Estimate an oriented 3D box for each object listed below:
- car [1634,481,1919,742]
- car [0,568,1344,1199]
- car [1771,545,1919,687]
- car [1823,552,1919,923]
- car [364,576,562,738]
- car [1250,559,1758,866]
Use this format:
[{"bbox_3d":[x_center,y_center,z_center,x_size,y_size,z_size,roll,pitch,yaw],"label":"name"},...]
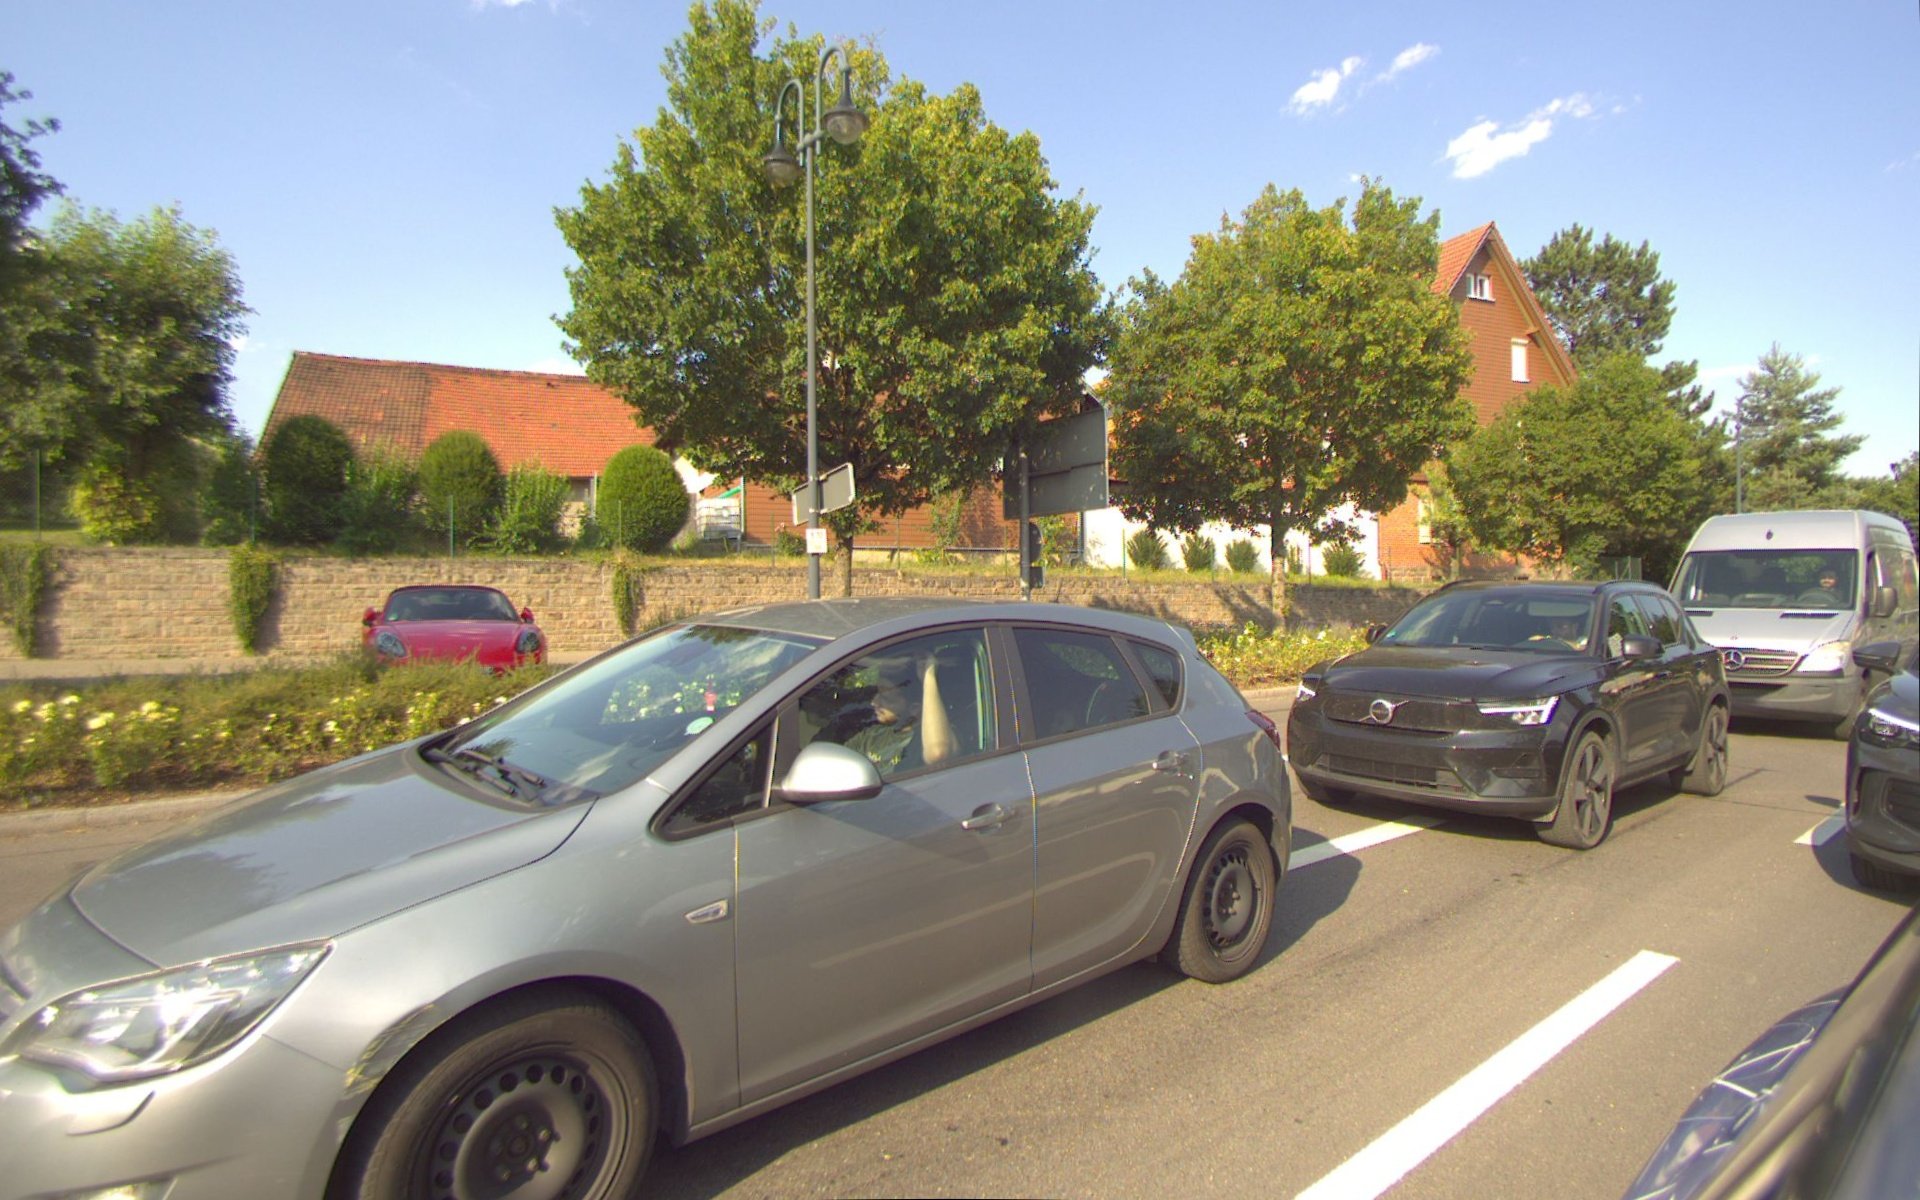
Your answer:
[{"bbox_3d":[10.670,0.081,12.765,5.938,2.601,1.992,0,1,-40],"label":"car"},{"bbox_3d":[-0.549,0.665,3.528,4.244,1.471,1.765,0,2,-42],"label":"car"},{"bbox_3d":[15.071,0.205,16.679,4.242,2.055,1.844,0,2,-40],"label":"car"},{"bbox_3d":[6.224,0.617,5.343,4.242,1.629,1.844,0,2,-40],"label":"car"},{"bbox_3d":[-5.887,0.523,11.720,1.743,1.510,4.156,0,0,-31],"label":"car"},{"bbox_3d":[4.170,0.566,7.458,4.242,1.629,1.844,0,2,-40],"label":"car"}]
